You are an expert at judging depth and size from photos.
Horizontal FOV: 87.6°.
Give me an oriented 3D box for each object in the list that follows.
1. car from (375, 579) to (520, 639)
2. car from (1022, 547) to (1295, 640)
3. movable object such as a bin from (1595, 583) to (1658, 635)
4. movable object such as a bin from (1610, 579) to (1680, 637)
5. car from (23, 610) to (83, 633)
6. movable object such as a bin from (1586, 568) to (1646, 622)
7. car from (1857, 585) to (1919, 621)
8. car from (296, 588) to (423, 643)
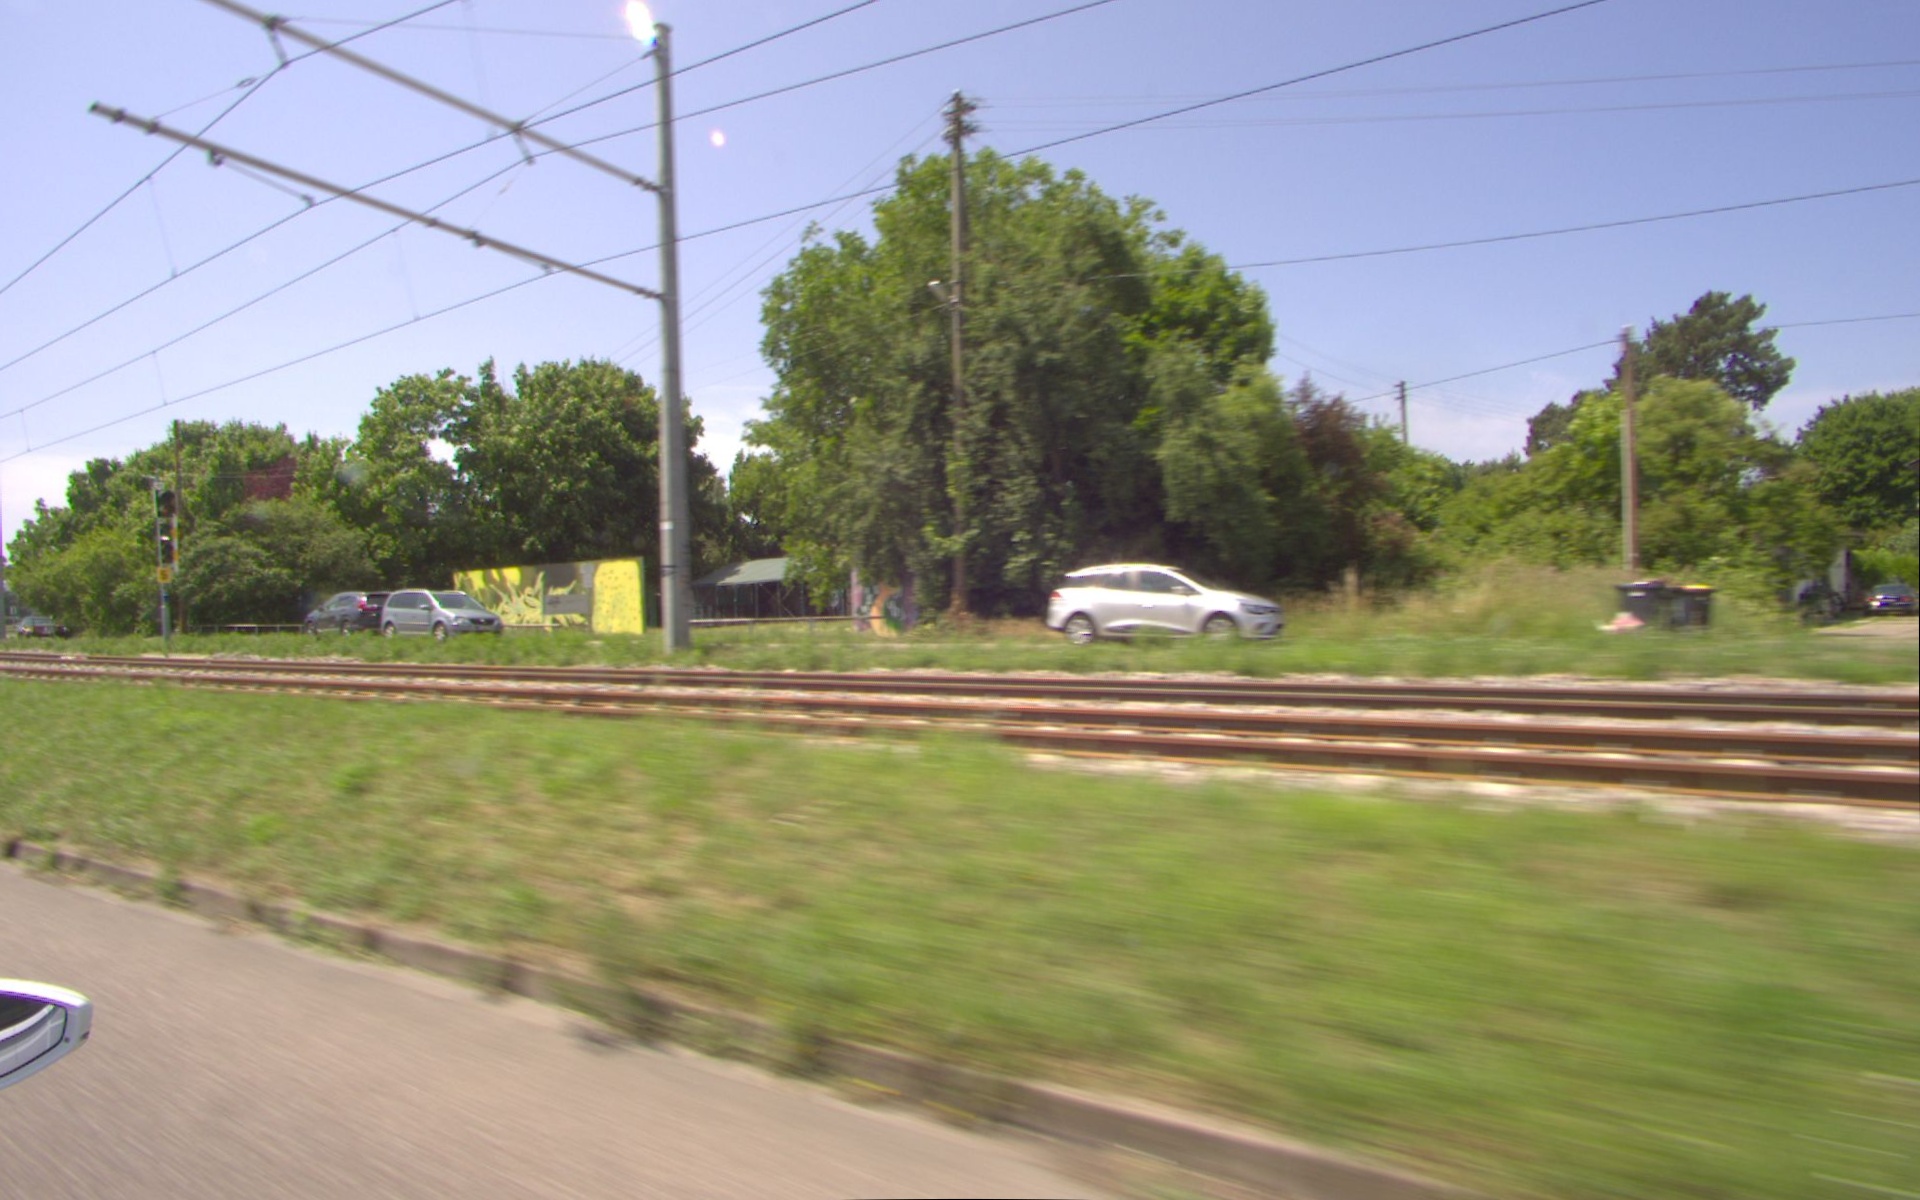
[{"bbox_3d":[-15.484,0.288,30.197,4.643,1.645,1.673,-2,0,31],"label":"car"},{"bbox_3d":[3.493,-0.065,17.928,4.486,1.433,1.676,-2,0,32],"label":"car"},{"bbox_3d":[12.432,0.169,18.682,0.579,0.947,0.822,-2,0,-37],"label":"movable object such as a bin"},{"bbox_3d":[11.684,0.130,17.084,0.793,0.947,0.774,-2,0,-38],"label":"movable object such as a bin"},{"bbox_3d":[-52.632,1.258,58.082,3.617,1.186,1.640,-2,0,33],"label":"car"},{"bbox_3d":[11.854,-0.088,18.111,0.443,0.947,0.797,-2,0,-37],"label":"movable object such as a bin"},{"bbox_3d":[40.846,0.104,44.028,1.978,1.439,3.966,-2,0,41],"label":"car"},{"bbox_3d":[-20.395,0.552,33.939,4.751,1.678,1.822,-2,0,34],"label":"car"}]
